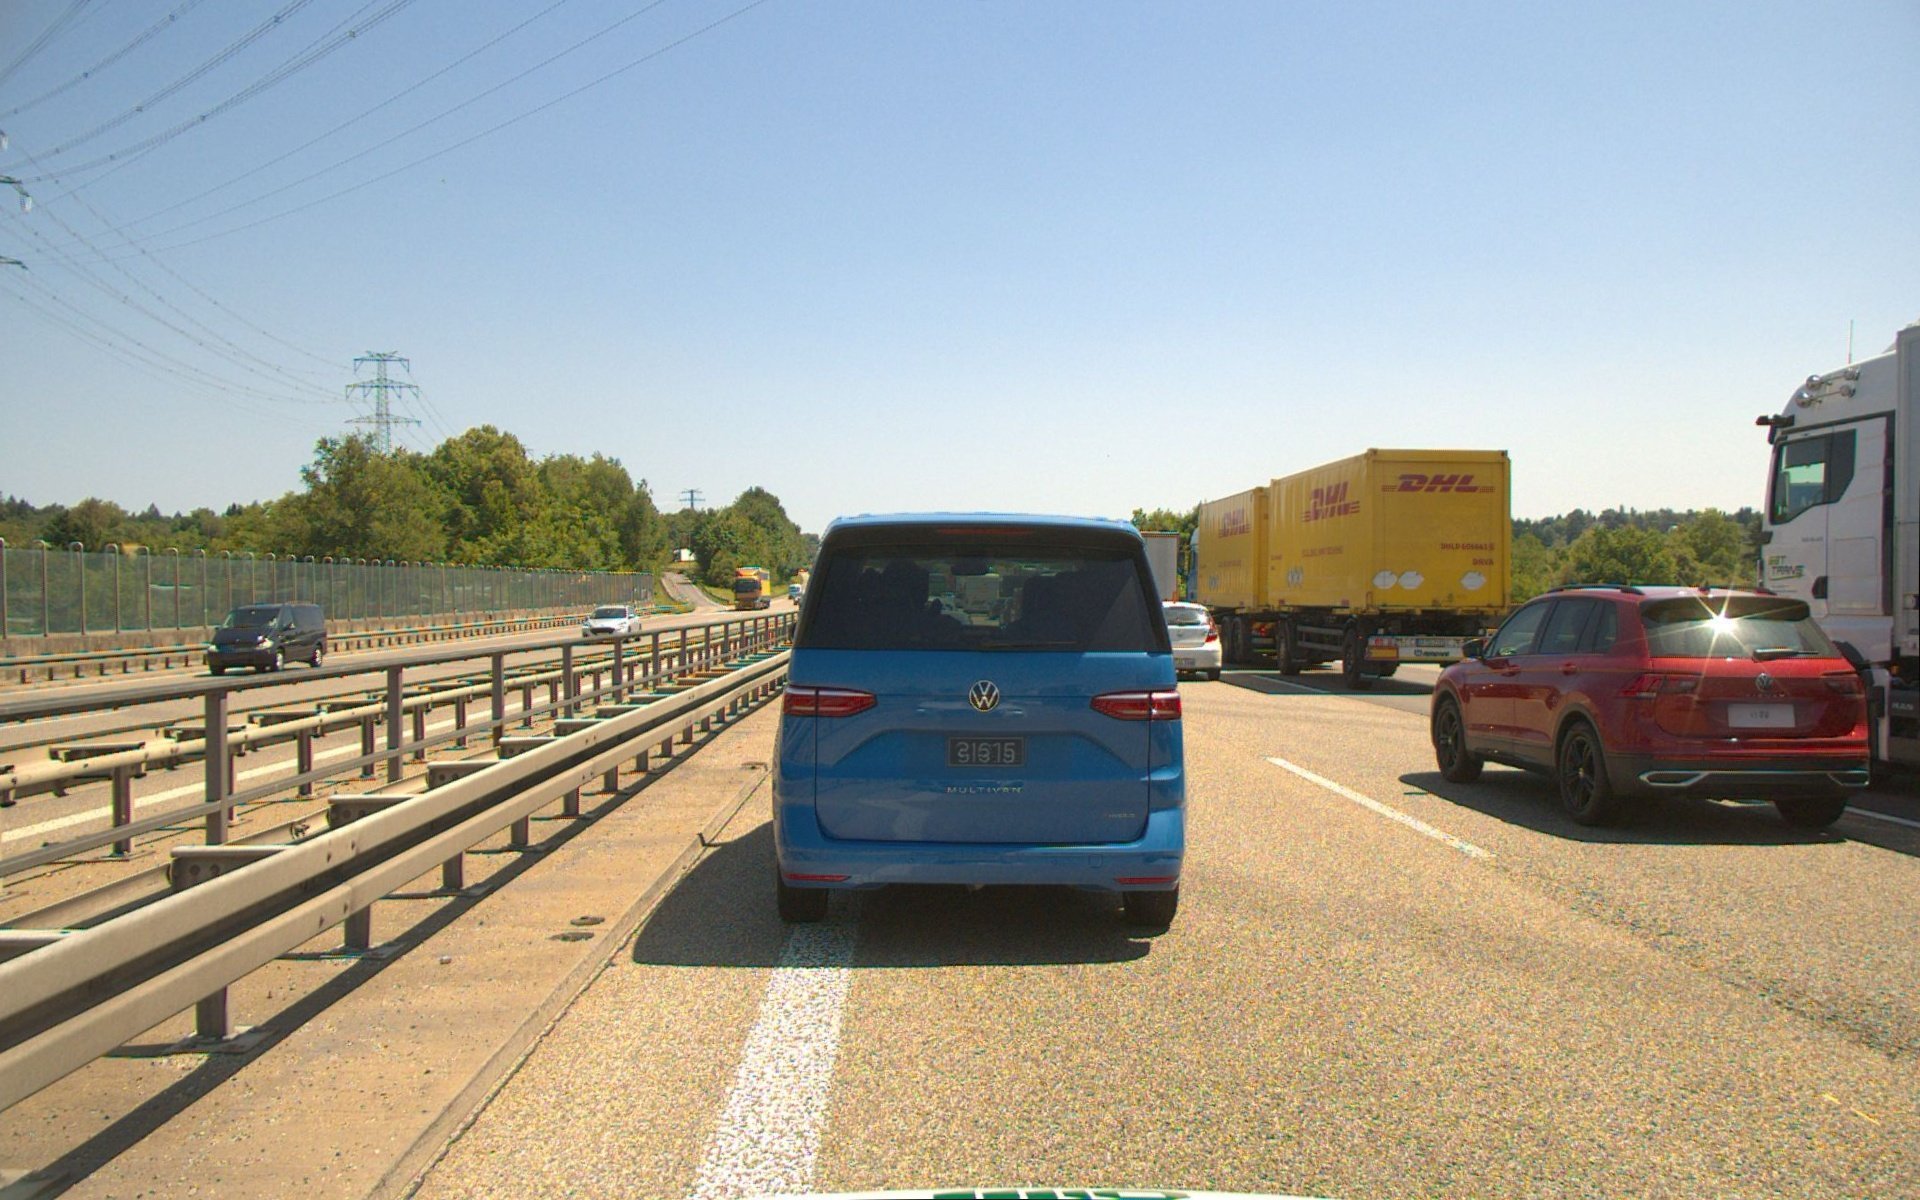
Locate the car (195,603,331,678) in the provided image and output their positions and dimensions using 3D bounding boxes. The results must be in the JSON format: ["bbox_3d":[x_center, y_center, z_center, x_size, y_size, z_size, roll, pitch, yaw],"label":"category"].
[{"bbox_3d":[-19.656,1.113,46.905,1.918,1.939,4.948,-2,0,-3],"label":"car"}]

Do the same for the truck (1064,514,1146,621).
[{"bbox_3d":[6.681,-1.414,77.339,2.965,4.692,7.919,1,0,-1],"label":"truck"}]

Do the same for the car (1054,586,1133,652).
[{"bbox_3d":[3.650,0.518,45.733,1.778,1.708,3.931,1,0,-1],"label":"car"}]

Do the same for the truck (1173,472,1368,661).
[{"bbox_3d":[7.555,-0.716,41.798,2.645,4.159,9.934,1,0,-2],"label":"truck"}]

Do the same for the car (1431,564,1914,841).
[{"bbox_3d":[5.072,0.660,12.487,1.674,1.708,4.283,1,-1,-2],"label":"car"}]

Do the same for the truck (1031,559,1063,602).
[{"bbox_3d":[5.451,-1.181,103.785,1.706,2.593,4.209,1,0,-1],"label":"truck"}]

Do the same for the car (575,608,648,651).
[{"bbox_3d":[-13.631,1.120,64.900,1.953,1.571,4.384,-2,0,-1],"label":"car"}]

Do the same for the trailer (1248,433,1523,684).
[{"bbox_3d":[7.919,-0.667,32.206,2.629,4.159,8.975,1,0,-3],"label":"trailer"}]

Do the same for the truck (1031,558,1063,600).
[{"bbox_3d":[5.723,-1.336,109.095,1.760,2.641,4.304,1,0,-1],"label":"truck"}]

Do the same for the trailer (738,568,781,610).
[{"bbox_3d":[-20.627,-1.055,170.887,2.574,4.186,14.015,0,0,0],"label":"trailer"}]

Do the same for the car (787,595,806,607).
[{"bbox_3d":[-19.354,0.091,195.390,1.654,1.326,4.013,-3,-1,2],"label":"car"}]

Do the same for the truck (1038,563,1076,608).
[{"bbox_3d":[5.545,-0.809,95.052,1.761,2.492,4.503,1,0,-1],"label":"truck"}]

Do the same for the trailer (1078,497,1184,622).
[{"bbox_3d":[6.843,-1.499,67.914,2.965,4.692,10.922,1,0,-1],"label":"trailer"}]

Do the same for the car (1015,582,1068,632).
[{"bbox_3d":[3.376,0.301,69.067,1.922,1.970,3.931,1,0,-2],"label":"car"}]

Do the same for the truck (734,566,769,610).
[{"bbox_3d":[-20.668,-1.112,164.453,2.617,4.258,6.287,-1,-1,1],"label":"truck"}]

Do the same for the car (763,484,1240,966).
[{"bbox_3d":[0.123,0.517,8.644,1.891,1.906,3.999,1,0,-2],"label":"car"}]

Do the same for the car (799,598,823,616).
[{"bbox_3d":[-12.931,0.584,144.065,1.726,1.534,4.222,-1,0,-1],"label":"car"}]

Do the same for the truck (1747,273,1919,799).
[{"bbox_3d":[8.780,-0.491,9.895,2.794,4.003,10.605,1,0,-2],"label":"truck"}]

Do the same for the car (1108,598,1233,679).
[{"bbox_3d":[4.126,0.728,33.015,1.779,1.496,3.929,1,0,-3],"label":"car"}]
